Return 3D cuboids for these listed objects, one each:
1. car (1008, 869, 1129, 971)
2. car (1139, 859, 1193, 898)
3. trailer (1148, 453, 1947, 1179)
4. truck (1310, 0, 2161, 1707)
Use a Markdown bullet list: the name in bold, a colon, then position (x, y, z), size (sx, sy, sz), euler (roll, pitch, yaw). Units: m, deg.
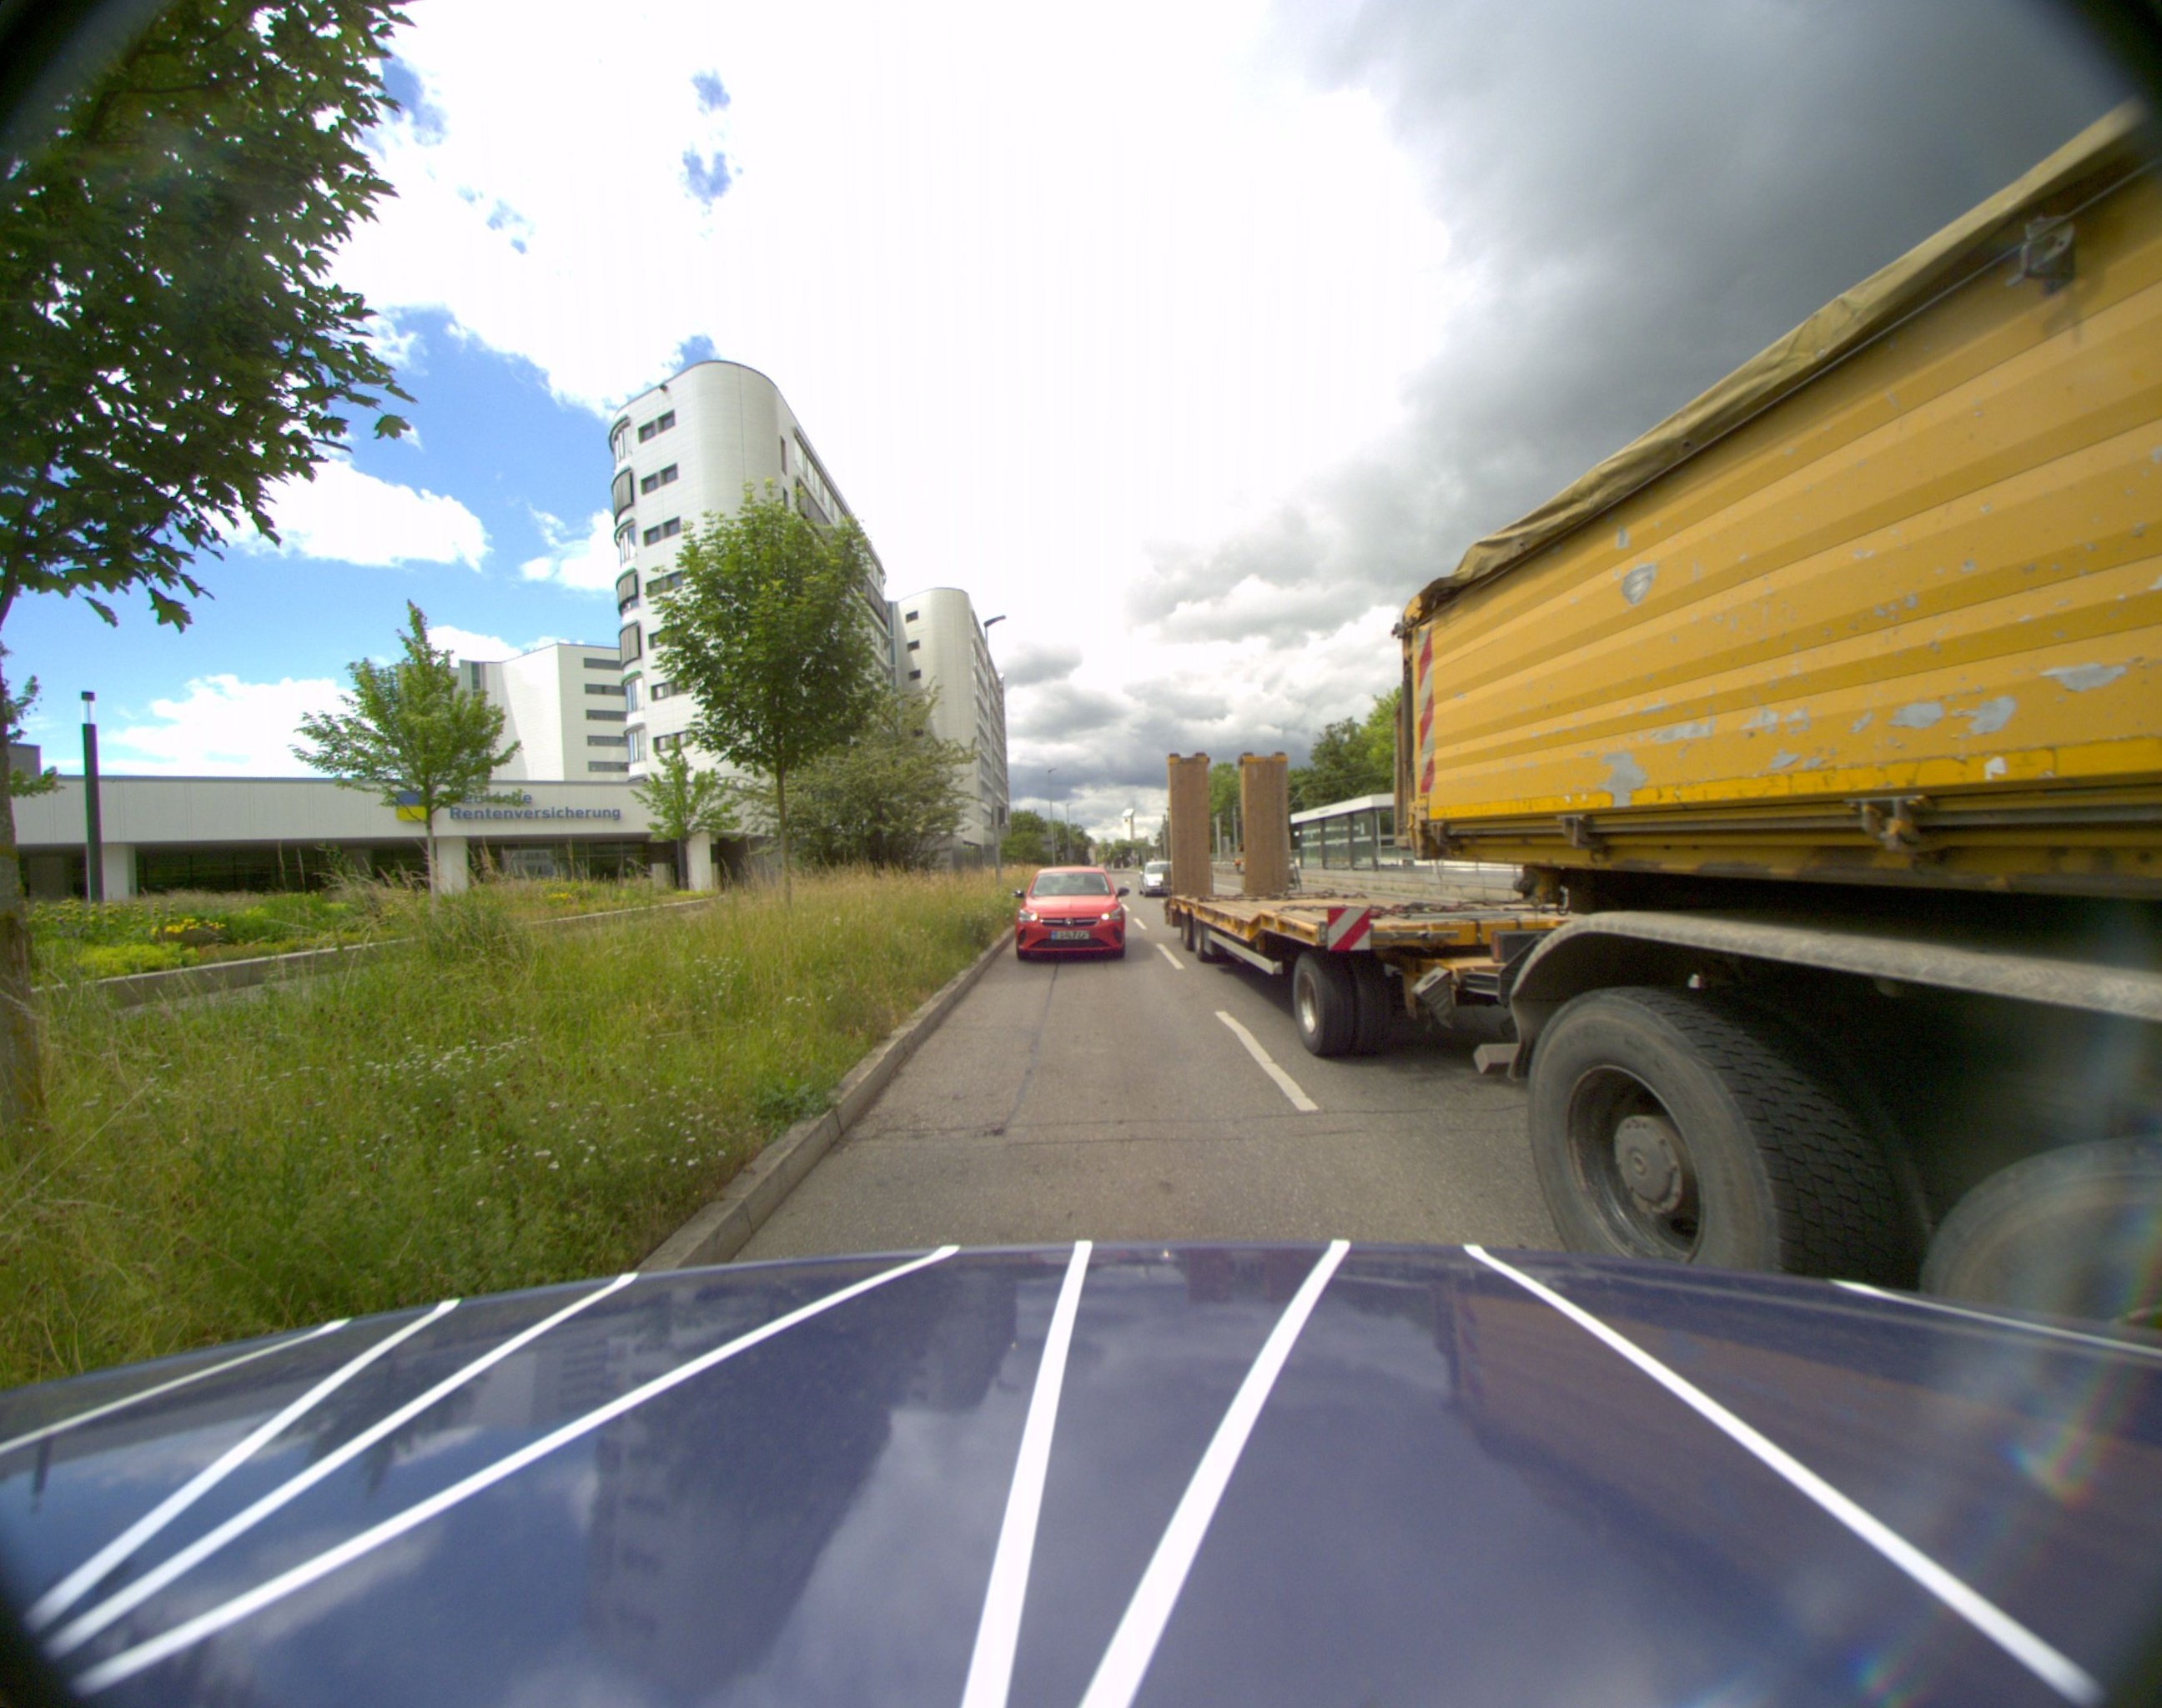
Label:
- **car**: position (-0.151, 1.008, 12.948), size (1.749, 1.408, 3.676), euler (-1, 0, 1)
- **car**: position (3.377, 0.965, 30.890), size (1.784, 1.408, 3.785), euler (-2, 0, 1)
- **trailer**: position (2.927, -0.172, 9.443), size (3.057, 3.676, 10.965), euler (-2, 0, 0)
- **truck**: position (2.856, -0.061, 0.142), size (3.057, 3.374, 8.006), euler (-2, 0, 0)
